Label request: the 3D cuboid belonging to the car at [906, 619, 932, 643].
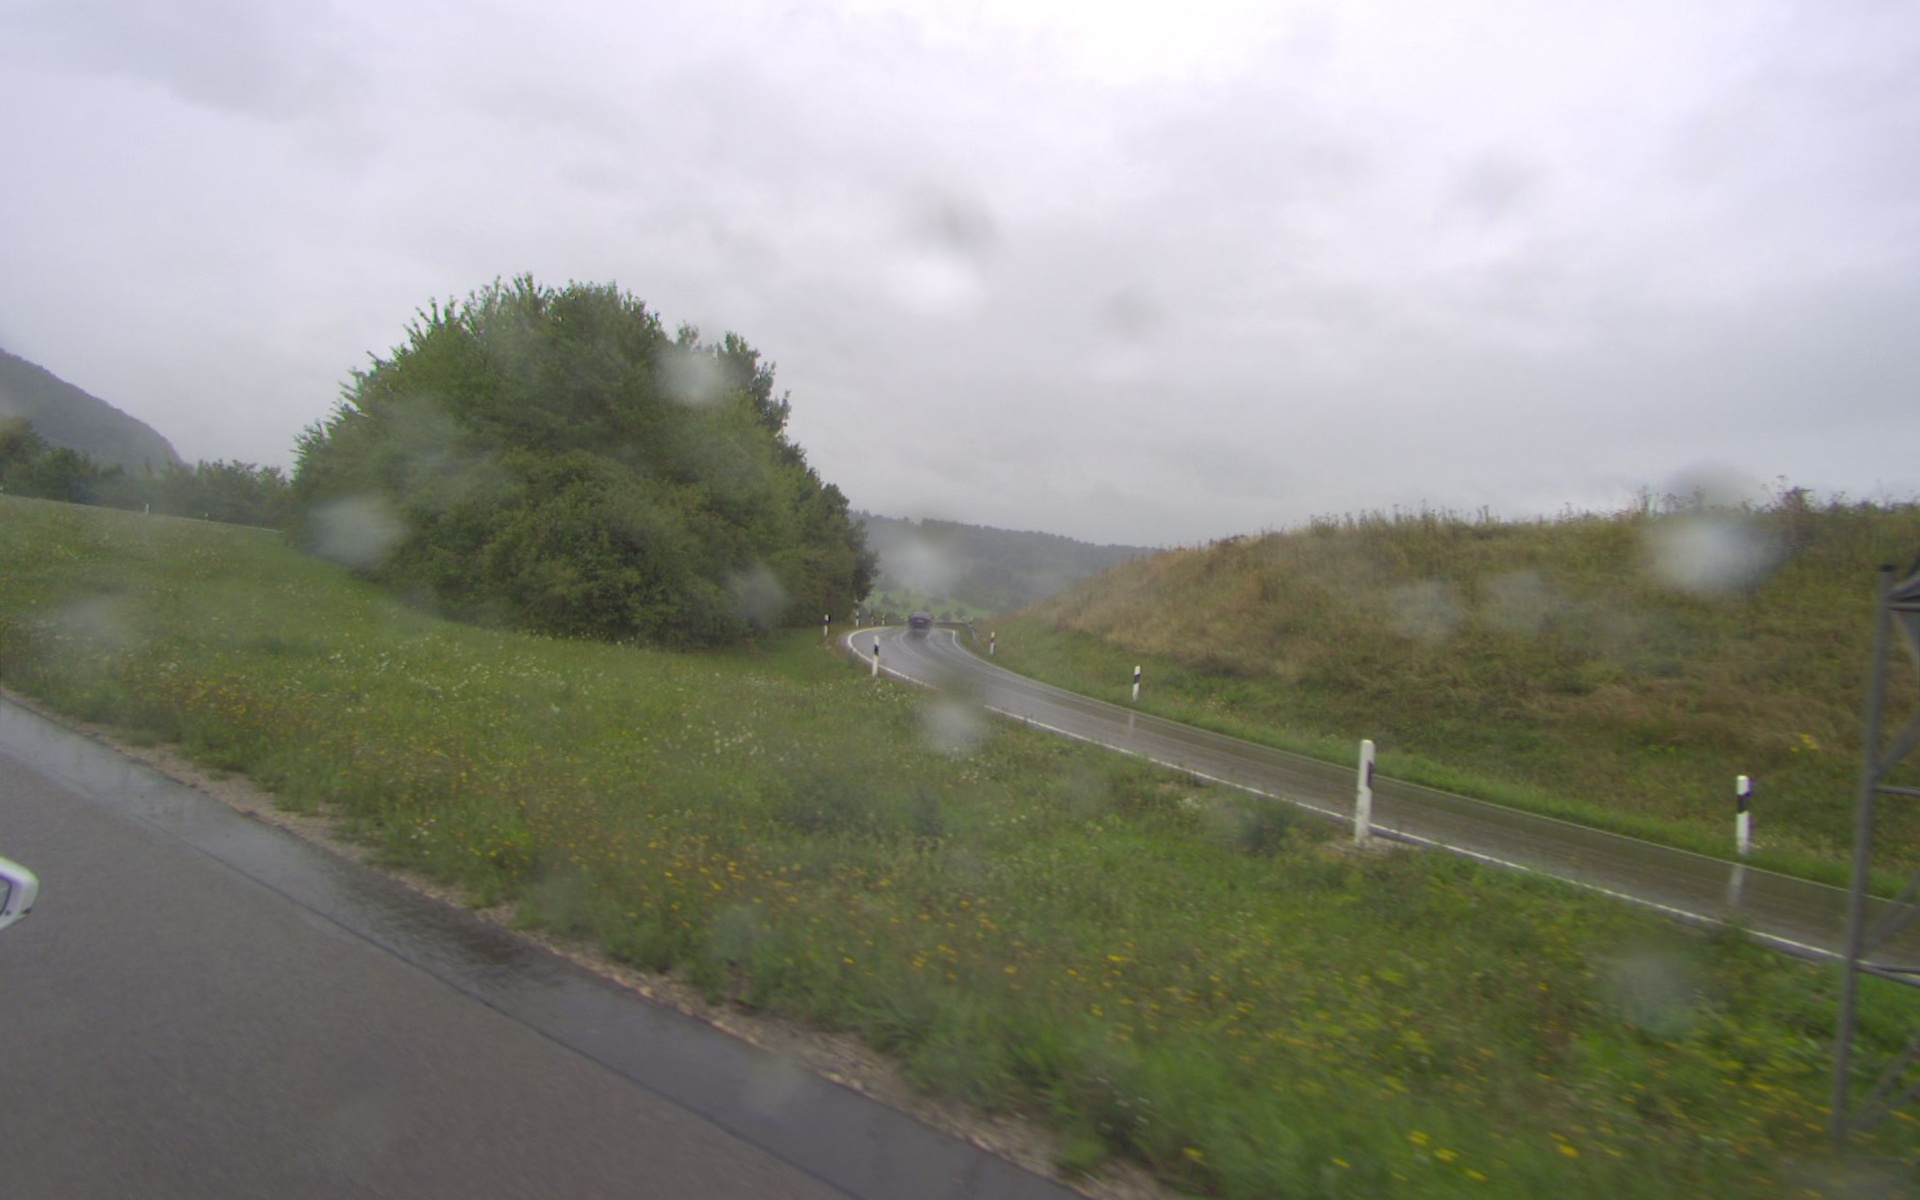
[{"bbox_3d":[-2.992,2.319,74.534,1.675,1.525,3.636,8,-2,-1],"label":"car"}]
